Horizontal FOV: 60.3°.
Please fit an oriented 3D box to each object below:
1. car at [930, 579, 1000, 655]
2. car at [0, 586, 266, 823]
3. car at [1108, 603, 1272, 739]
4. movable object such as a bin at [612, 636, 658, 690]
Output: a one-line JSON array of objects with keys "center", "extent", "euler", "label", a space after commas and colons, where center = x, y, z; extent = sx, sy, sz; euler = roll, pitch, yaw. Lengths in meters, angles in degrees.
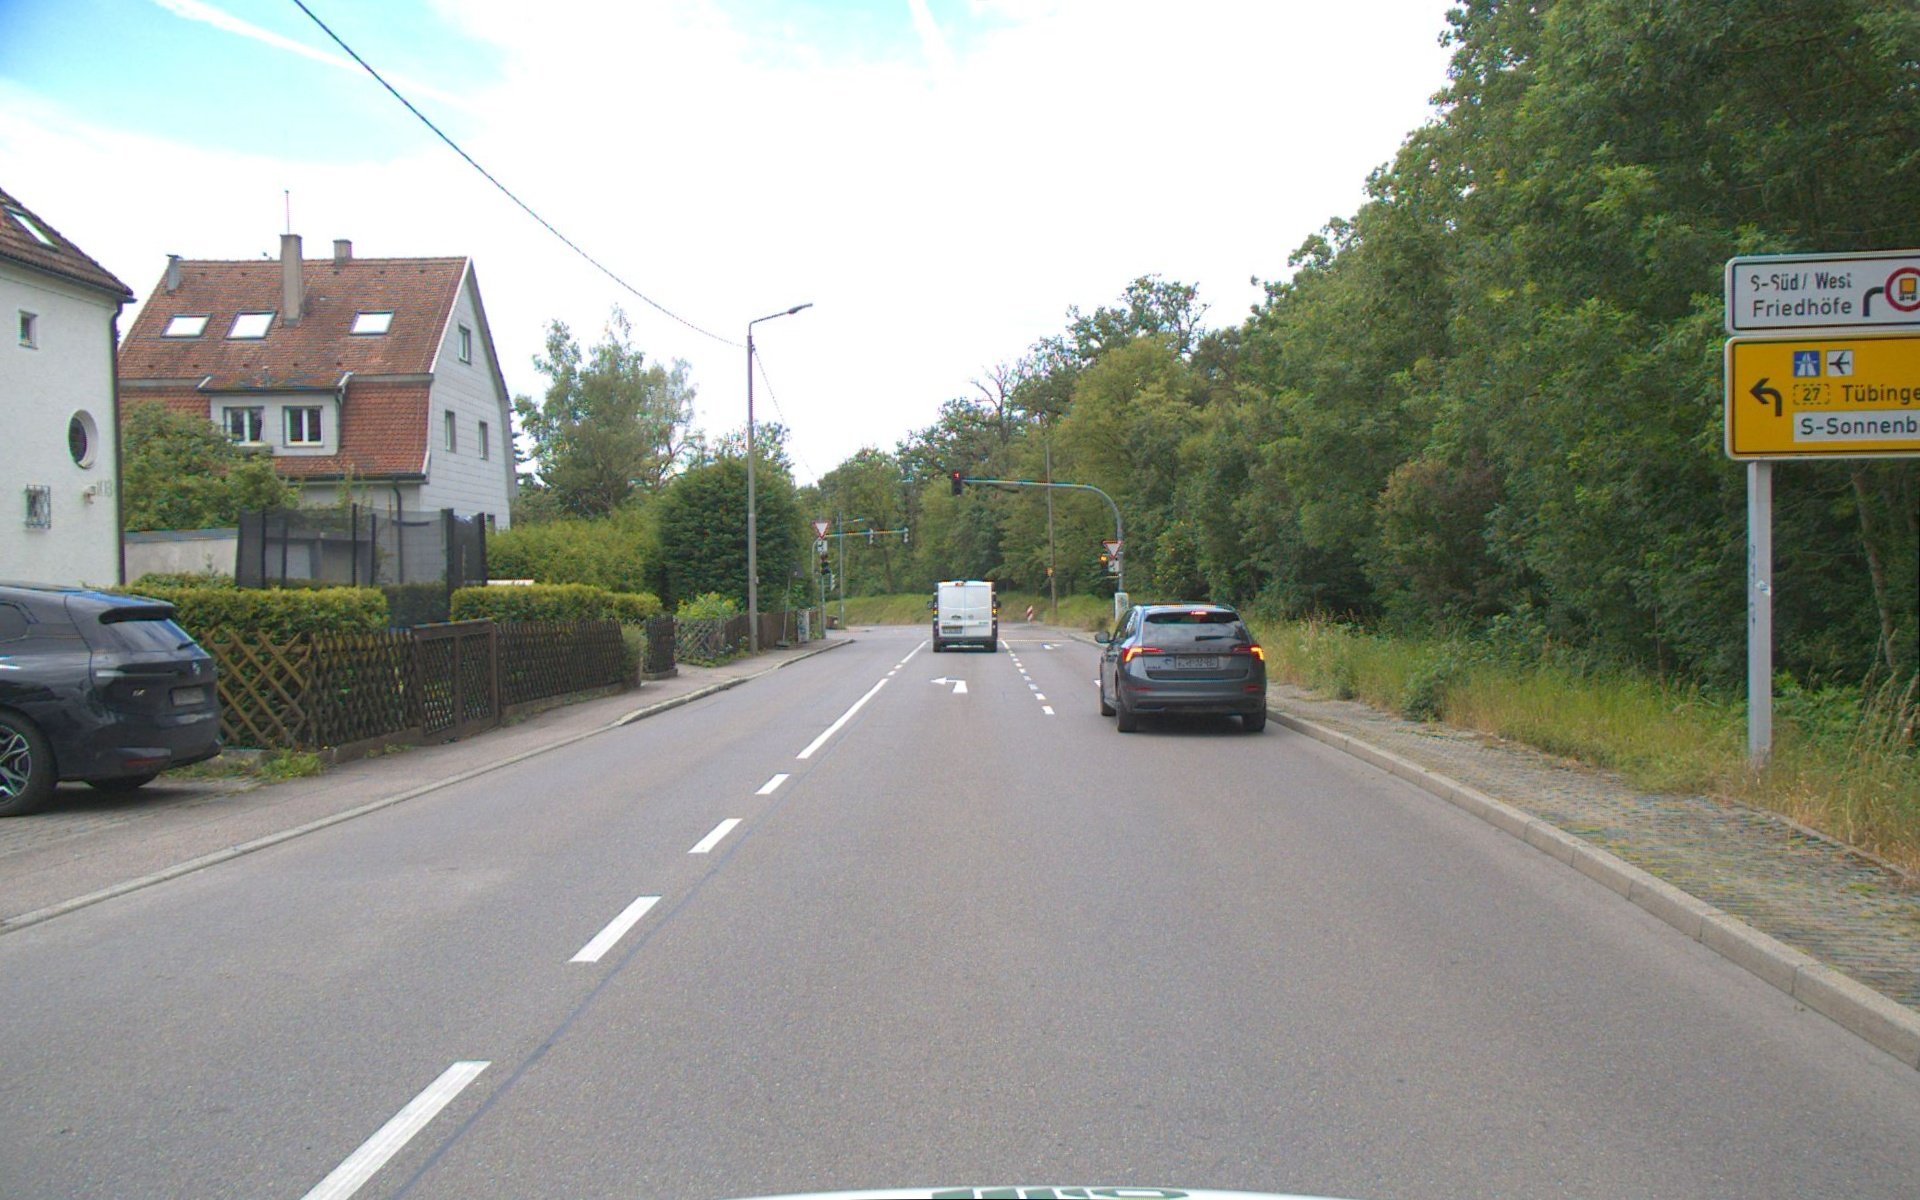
[{"center": [0.096, 0.481, 48.063], "extent": [1.878, 2.089, 4.612], "euler": [-1, 0, -2], "label": "car"}, {"center": [-8.125, 0.727, 12.896], "extent": [4.575, 1.699, 1.882], "euler": [1, 0, 0], "label": "car"}, {"center": [2.702, 0.788, 20.161], "extent": [1.755, 1.476, 4.002], "euler": [-1, 0, 5], "label": "car"}, {"center": [-5.837, 1.126, 29.726], "extent": [0.619, 0.929, 0.561], "euler": [1, 0, 13], "label": "movable object such as a bin"}]
